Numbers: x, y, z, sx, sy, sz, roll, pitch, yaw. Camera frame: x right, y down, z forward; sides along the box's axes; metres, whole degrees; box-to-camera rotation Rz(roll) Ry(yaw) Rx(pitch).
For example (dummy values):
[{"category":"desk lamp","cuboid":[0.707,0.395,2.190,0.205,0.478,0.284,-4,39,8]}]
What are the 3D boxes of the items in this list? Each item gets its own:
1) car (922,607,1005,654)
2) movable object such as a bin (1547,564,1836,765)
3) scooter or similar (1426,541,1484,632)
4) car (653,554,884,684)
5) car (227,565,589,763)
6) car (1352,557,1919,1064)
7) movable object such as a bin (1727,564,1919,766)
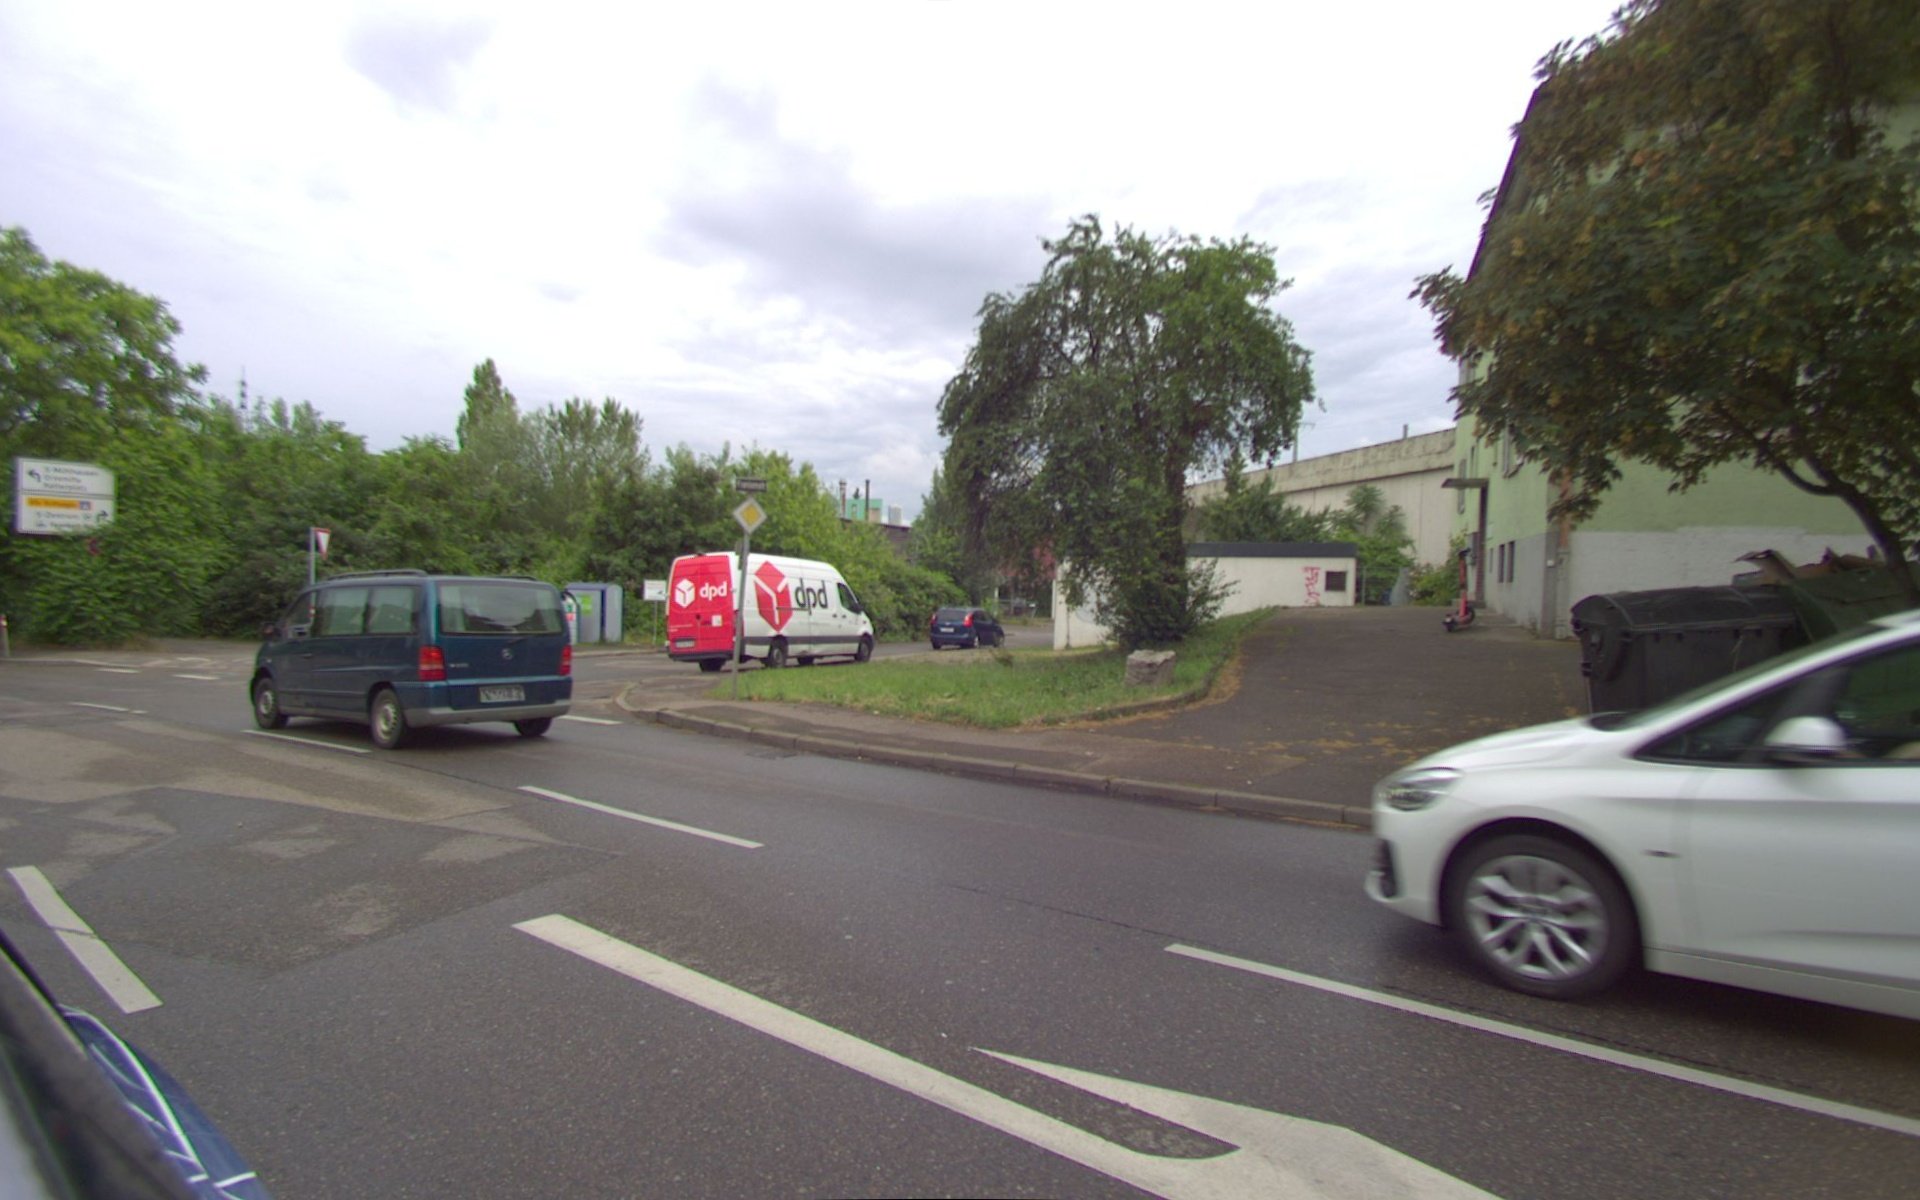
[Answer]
[{"category":"car","cuboid":[0.200,1.118,38.831,1.984,1.642,4.226,0,0,19]},{"category":"movable object such as a bin","cuboid":[6.190,0.484,8.670,1.440,1.448,1.296,-5,3,-5]},{"category":"scooter or similar","cuboid":[7.574,-0.235,15.455,0.529,1.283,1.507,0,4,36]},{"category":"car","cuboid":[-4.318,0.379,24.421,2.247,2.675,6.775,0,0,21]},{"category":"car","cuboid":[-6.688,0.645,12.087,4.672,1.946,1.941,0,-1,35]},{"category":"car","cuboid":[3.910,0.640,3.570,4.334,1.590,1.811,-2,-1,43]},{"category":"movable object such as a bin","cuboid":[7.644,0.489,8.537,1.440,1.448,1.102,-5,3,-5]}]
